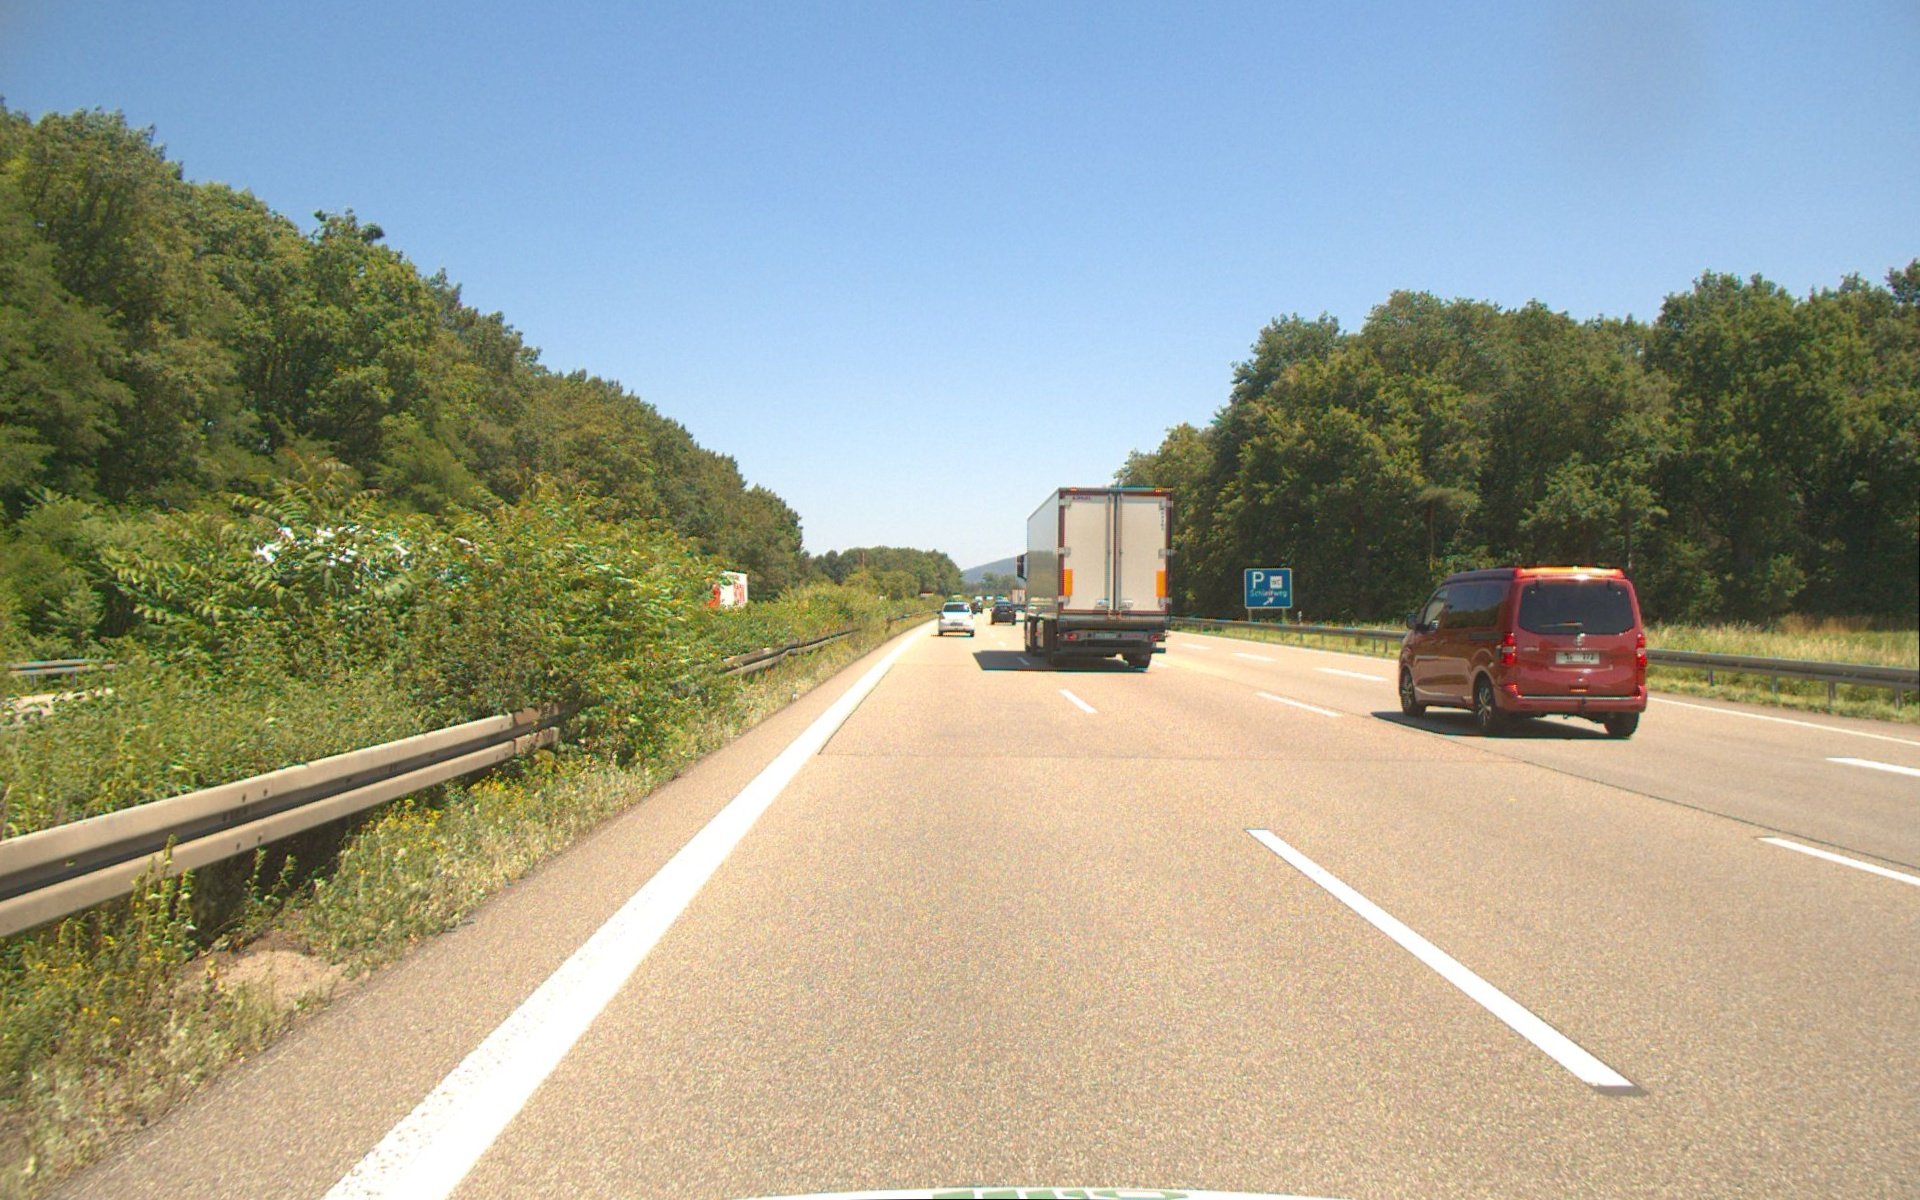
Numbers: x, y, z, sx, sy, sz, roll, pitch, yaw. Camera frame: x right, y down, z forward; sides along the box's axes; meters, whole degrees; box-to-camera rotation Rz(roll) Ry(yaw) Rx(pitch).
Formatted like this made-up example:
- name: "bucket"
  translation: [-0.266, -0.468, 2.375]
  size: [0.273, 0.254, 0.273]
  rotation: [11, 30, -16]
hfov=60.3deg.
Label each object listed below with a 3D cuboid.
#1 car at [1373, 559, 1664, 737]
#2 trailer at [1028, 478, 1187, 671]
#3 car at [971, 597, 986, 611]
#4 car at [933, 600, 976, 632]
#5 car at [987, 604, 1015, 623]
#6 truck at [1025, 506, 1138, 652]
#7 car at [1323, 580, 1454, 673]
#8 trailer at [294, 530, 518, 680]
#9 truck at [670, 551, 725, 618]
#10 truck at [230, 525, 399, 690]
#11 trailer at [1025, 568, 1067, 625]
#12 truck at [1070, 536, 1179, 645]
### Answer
- name: "car"
  translation: [7.175, 0.562, 21.948]
  size: [1.818, 2.038, 5.520]
  rotation: [1, 0, -2]
- name: "trailer"
  translation: [3.496, -0.573, 42.458]
  size: [3.157, 4.216, 12.352]
  rotation: [0, 0, 1]
- name: "car"
  translation: [2.730, 0.628, 243.211]
  size: [2.064, 2.049, 3.998]
  rotation: [0, 0, -2]
- name: "car"
  translation: [-0.274, 0.722, 75.711]
  size: [1.775, 1.429, 3.315]
  rotation: [0, 0, -4]
- name: "car"
  translation: [2.944, 0.956, 117.764]
  size: [1.632, 1.312, 4.003]
  rotation: [0, 0, 6]
- name: "truck"
  translation: [3.614, -0.604, 50.339]
  size: [3.162, 4.230, 4.560]
  rotation: [0, 0, 1]
- name: "car"
  translation: [9.932, 0.588, 38.640]
  size: [1.953, 2.049, 3.999]
  rotation: [0, 0, -1]
- name: "trailer"
  translation: [-17.237, 0.142, 52.782]
  size: [2.776, 4.104, 12.912]
  rotation: [-2, 0, 0]
- name: "truck"
  translation: [-16.614, -0.975, 104.922]
  size: [2.861, 4.121, 4.294]
  rotation: [0, 0, -1]
- name: "truck"
  translation: [-17.212, 0.192, 44.355]
  size: [2.776, 4.104, 4.184]
  rotation: [-2, 0, 0]
- name: "trailer"
  translation: [7.341, -0.294, 143.311]
  size: [3.116, 4.708, 12.050]
  rotation: [0, 0, 1]
- name: "truck"
  translation: [7.011, -0.409, 72.426]
  size: [3.159, 4.421, 10.800]
  rotation: [0, 0, -3]
